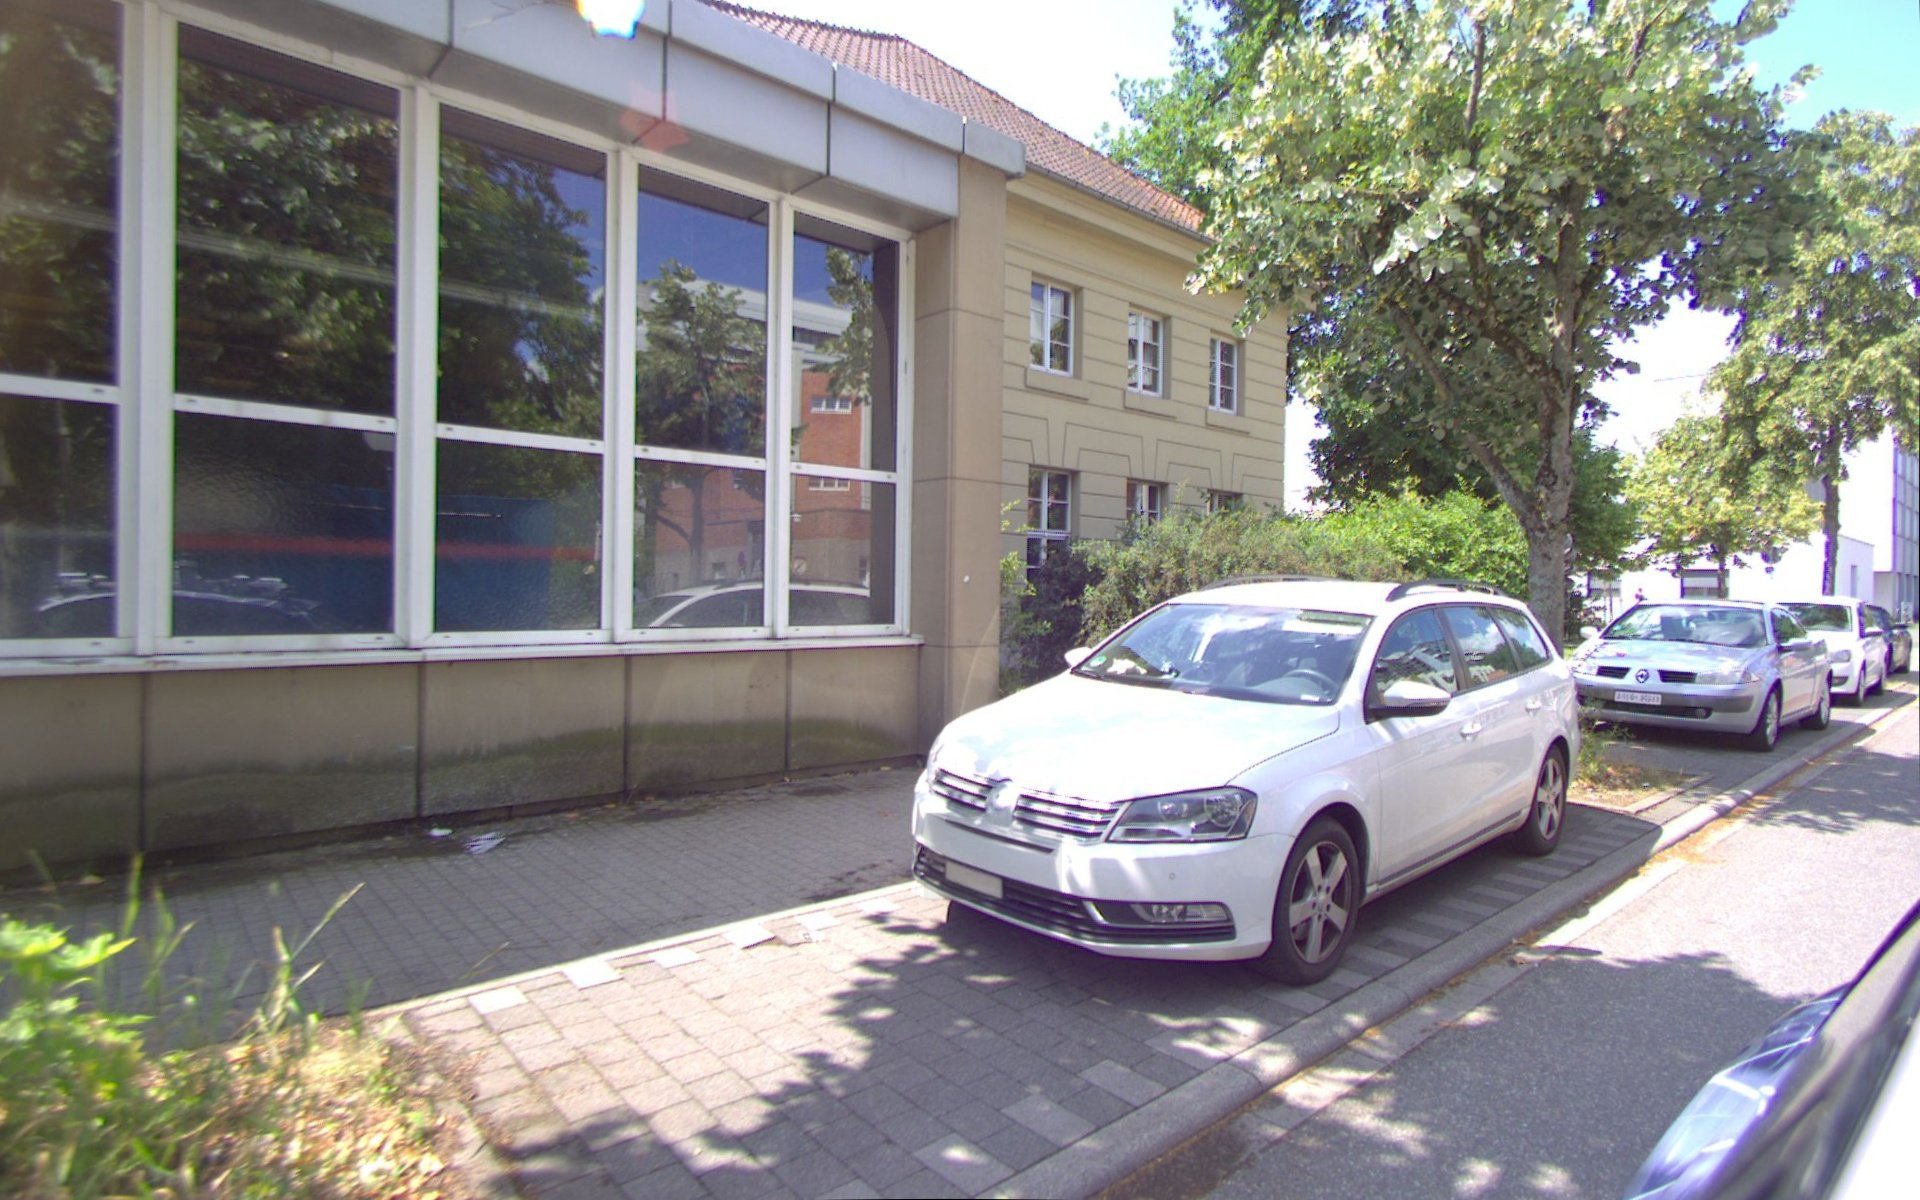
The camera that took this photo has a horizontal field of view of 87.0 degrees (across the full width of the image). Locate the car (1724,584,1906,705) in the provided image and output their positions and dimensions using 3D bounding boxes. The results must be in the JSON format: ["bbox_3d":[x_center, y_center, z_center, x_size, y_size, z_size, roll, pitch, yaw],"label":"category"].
[{"bbox_3d":[12.397,0.546,14.592,3.922,1.485,1.588,0,1,-44],"label":"car"}]

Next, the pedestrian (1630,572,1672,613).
[{"bbox_3d":[32.424,-0.371,47.529,1.000,1.822,1.174,2,1,-13],"label":"pedestrian"}]

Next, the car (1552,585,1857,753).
[{"bbox_3d":[7.847,0.585,10.547,3.917,1.408,1.650,0,1,-40],"label":"car"}]

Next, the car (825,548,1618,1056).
[{"bbox_3d":[1.703,0.563,5.170,4.593,1.485,1.728,0,2,-43],"label":"car"}]

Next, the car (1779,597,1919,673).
[{"bbox_3d":[17.304,0.603,19.483,3.929,1.296,1.711,0,1,-40],"label":"car"}]

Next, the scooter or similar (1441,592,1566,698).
[{"bbox_3d":[6.995,0.566,13.050,1.241,1.282,0.597,2,0,-4],"label":"scooter or similar"}]

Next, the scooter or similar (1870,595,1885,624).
[{"bbox_3d":[40.843,0.422,45.037,1.054,1.251,0.327,0,0,-39],"label":"scooter or similar"}]

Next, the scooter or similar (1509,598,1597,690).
[{"bbox_3d":[8.361,0.600,14.262,1.212,1.237,0.522,1,1,-31],"label":"scooter or similar"}]
